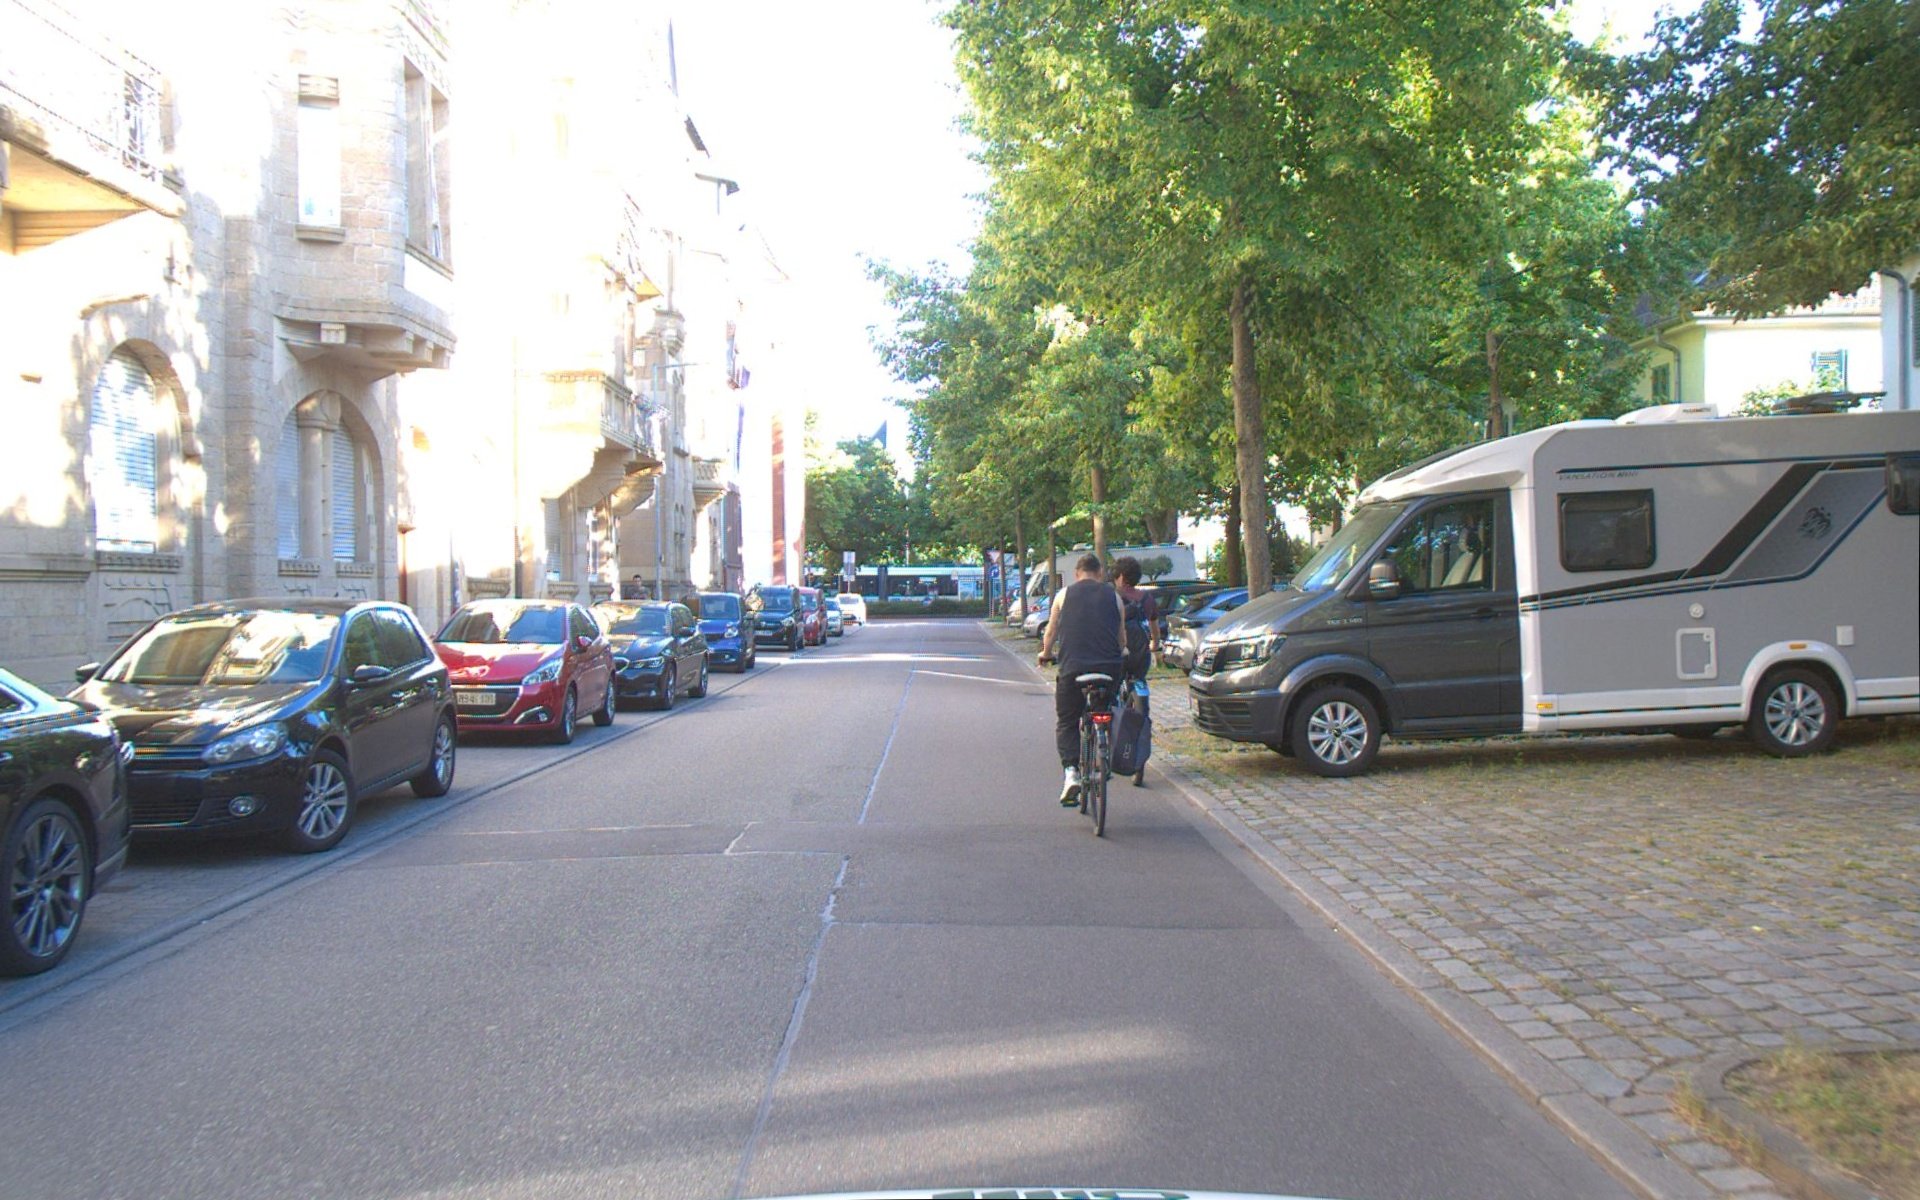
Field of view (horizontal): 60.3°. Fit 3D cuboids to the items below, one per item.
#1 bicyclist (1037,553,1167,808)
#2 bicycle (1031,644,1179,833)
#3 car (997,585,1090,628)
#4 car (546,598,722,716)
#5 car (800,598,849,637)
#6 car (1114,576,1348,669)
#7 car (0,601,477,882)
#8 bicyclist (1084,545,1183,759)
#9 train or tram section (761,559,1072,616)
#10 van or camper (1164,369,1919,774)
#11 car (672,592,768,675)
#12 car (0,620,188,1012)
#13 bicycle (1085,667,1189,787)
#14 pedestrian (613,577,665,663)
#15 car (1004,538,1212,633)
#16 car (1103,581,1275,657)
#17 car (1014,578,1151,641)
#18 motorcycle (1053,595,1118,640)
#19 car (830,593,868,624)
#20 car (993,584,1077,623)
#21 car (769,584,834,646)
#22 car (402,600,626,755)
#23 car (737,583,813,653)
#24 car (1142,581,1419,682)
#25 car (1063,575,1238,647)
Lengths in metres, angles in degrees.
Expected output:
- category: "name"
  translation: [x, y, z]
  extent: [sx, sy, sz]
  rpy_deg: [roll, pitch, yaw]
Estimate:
- category: "bicyclist"
  translation: [0.910, 0.509, 10.781]
  extent: [0.715, 1.575, 0.884]
  rpy_deg: [1, -1, -2]
- category: "bicycle"
  translation: [0.904, 0.849, 10.797]
  extent: [0.722, 1.072, 1.955]
  rpy_deg: [1, -1, -2]
- category: "car"
  translation: [3.678, 0.305, 73.028]
  extent: [3.907, 1.835, 1.833]
  rpy_deg: [1, -1, -3]
- category: "car"
  translation: [-4.633, 0.751, 24.141]
  extent: [1.641, 1.455, 4.550]
  rpy_deg: [2, 1, 0]
- category: "car"
  translation: [-5.234, 0.666, 64.293]
  extent: [1.551, 1.367, 4.131]
  rpy_deg: [2, 1, 0]
- category: "car"
  translation: [5.071, 0.439, 31.340]
  extent: [4.136, 1.628, 1.691]
  rpy_deg: [-1, -2, 1]
- category: "car"
  translation: [-4.513, 0.770, 10.818]
  extent: [1.662, 1.479, 4.026]
  rpy_deg: [0, -1, -2]
- category: "bicyclist"
  translation: [1.388, 0.403, 13.383]
  extent: [0.675, 1.655, 0.998]
  rpy_deg: [1, 0, 0]
- category: "train or tram section"
  translation: [-3.018, -0.810, 124.312]
  extent: [23.484, 3.773, 4.255]
  rpy_deg: [1, -1, -23]
- category: "van or camper"
  translation: [5.398, -0.270, 13.700]
  extent: [7.000, 2.693, 2.465]
  rpy_deg: [-4, 0, 1]
- category: "car"
  translation: [-4.805, 0.646, 33.348]
  extent: [1.564, 1.515, 2.735]
  rpy_deg: [3, 1, -2]
- category: "car"
  translation: [-4.501, 0.810, 5.317]
  extent: [1.774, 1.451, 4.897]
  rpy_deg: [2, 0, -1]
- category: "bicycle"
  translation: [1.423, 1.009, 13.572]
  extent: [0.620, 0.813, 1.832]
  rpy_deg: [-1, 0, -1]
- category: "pedestrian"
  translation: [-6.744, 0.428, 34.782]
  extent: [0.919, 1.773, 0.735]
  rpy_deg: [1, -1, -1]
- category: "car"
  translation: [5.188, -0.503, 58.697]
  extent: [7.005, 3.030, 2.463]
  rpy_deg: [-2, 0, -4]
- category: "car"
  translation: [5.178, 0.457, 37.748]
  extent: [3.695, 1.628, 1.691]
  rpy_deg: [-1, -2, 1]
- category: "car"
  translation: [3.780, 0.289, 51.350]
  extent: [4.002, 1.678, 1.640]
  rpy_deg: [-4, 0, -3]
- category: "motorcycle"
  translation: [3.308, 0.471, 43.594]
  extent: [1.574, 1.161, 0.671]
  rpy_deg: [-1, 0, 33]
- category: "car"
  translation: [-5.475, 0.395, 81.750]
  extent: [1.551, 1.399, 4.131]
  rpy_deg: [2, 1, 0]
- category: "car"
  translation: [3.643, 0.172, 80.915]
  extent: [3.907, 1.835, 1.833]
  rpy_deg: [1, -1, -3]
- category: "car"
  translation: [-5.063, 0.445, 53.380]
  extent: [1.654, 1.857, 4.272]
  rpy_deg: [2, 1, 0]
- category: "car"
  translation: [-4.775, 0.767, 18.196]
  extent: [1.596, 1.478, 3.835]
  rpy_deg: [1, 0, -3]
- category: "car"
  translation: [-5.127, 0.463, 46.289]
  extent: [1.607, 1.814, 4.354]
  rpy_deg: [2, 1, 0]
- category: "car"
  translation: [4.952, 0.474, 25.843]
  extent: [3.953, 1.479, 1.689]
  rpy_deg: [-1, 0, -5]
- category: "car"
  translation: [4.590, 0.289, 40.289]
  extent: [4.053, 1.628, 1.702]
  rpy_deg: [-1, -2, 1]
